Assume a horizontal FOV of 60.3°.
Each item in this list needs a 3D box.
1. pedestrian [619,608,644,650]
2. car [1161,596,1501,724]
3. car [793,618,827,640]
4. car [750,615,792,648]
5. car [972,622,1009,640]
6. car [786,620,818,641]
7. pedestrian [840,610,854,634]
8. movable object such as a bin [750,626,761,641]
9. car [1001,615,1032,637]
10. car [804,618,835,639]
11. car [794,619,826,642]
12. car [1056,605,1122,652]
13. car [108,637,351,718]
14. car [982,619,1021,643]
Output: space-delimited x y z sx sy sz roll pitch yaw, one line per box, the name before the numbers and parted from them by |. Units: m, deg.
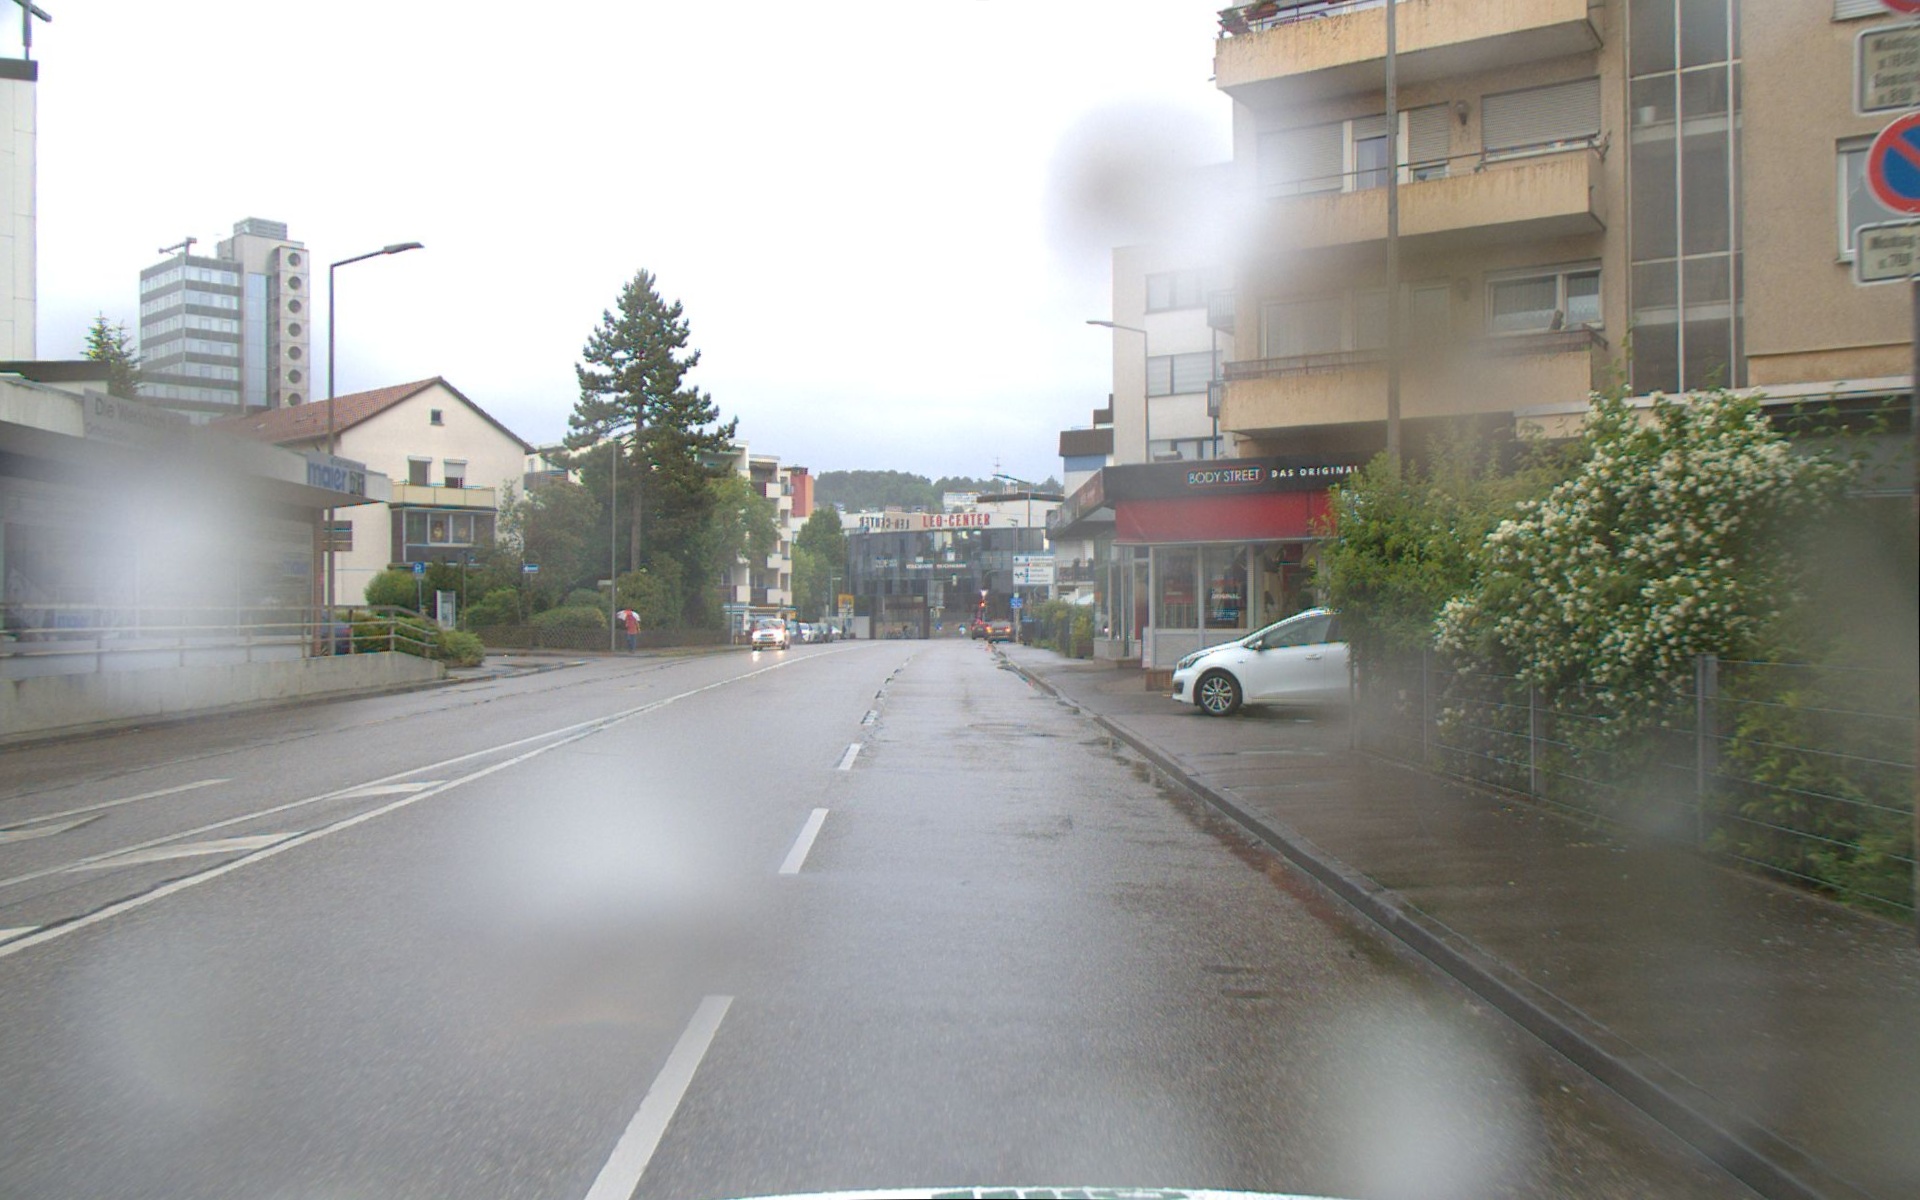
pedestrian | -12.703 1.128 63.955 0.852 1.635 1.101 0 -2 -7
car | 5.025 0.742 22.473 4.175 1.520 1.870 1 1 28
car | -11.231 2.170 124.098 1.894 1.569 4.522 0 -1 2
car | -9.134 1.515 80.215 1.664 1.433 3.998 -3 1 -2
car | 2.520 2.581 136.401 1.767 1.444 4.000 -1 -1 21
car | -11.320 2.172 118.787 1.658 1.490 4.685 0 -1 2
pedestrian | -10.052 1.923 147.046 0.733 2.049 0.921 3 -1 23
movable object such as a bin | -13.440 2.193 108.669 0.634 0.983 0.682 -1 -1 2
car | 4.210 1.943 123.160 1.662 1.512 4.003 -3 -1 10
car | -10.993 2.236 129.551 1.894 1.569 4.274 0 -1 2
car | -10.209 2.069 112.753 1.617 1.547 4.325 0 -1 2
car | 5.124 1.123 66.217 1.954 1.817 4.686 0 -1 -5
car | -15.753 1.626 35.832 1.964 1.573 4.445 0 -1 41
car | 2.927 2.194 116.905 1.951 1.561 4.650 1 -2 12
